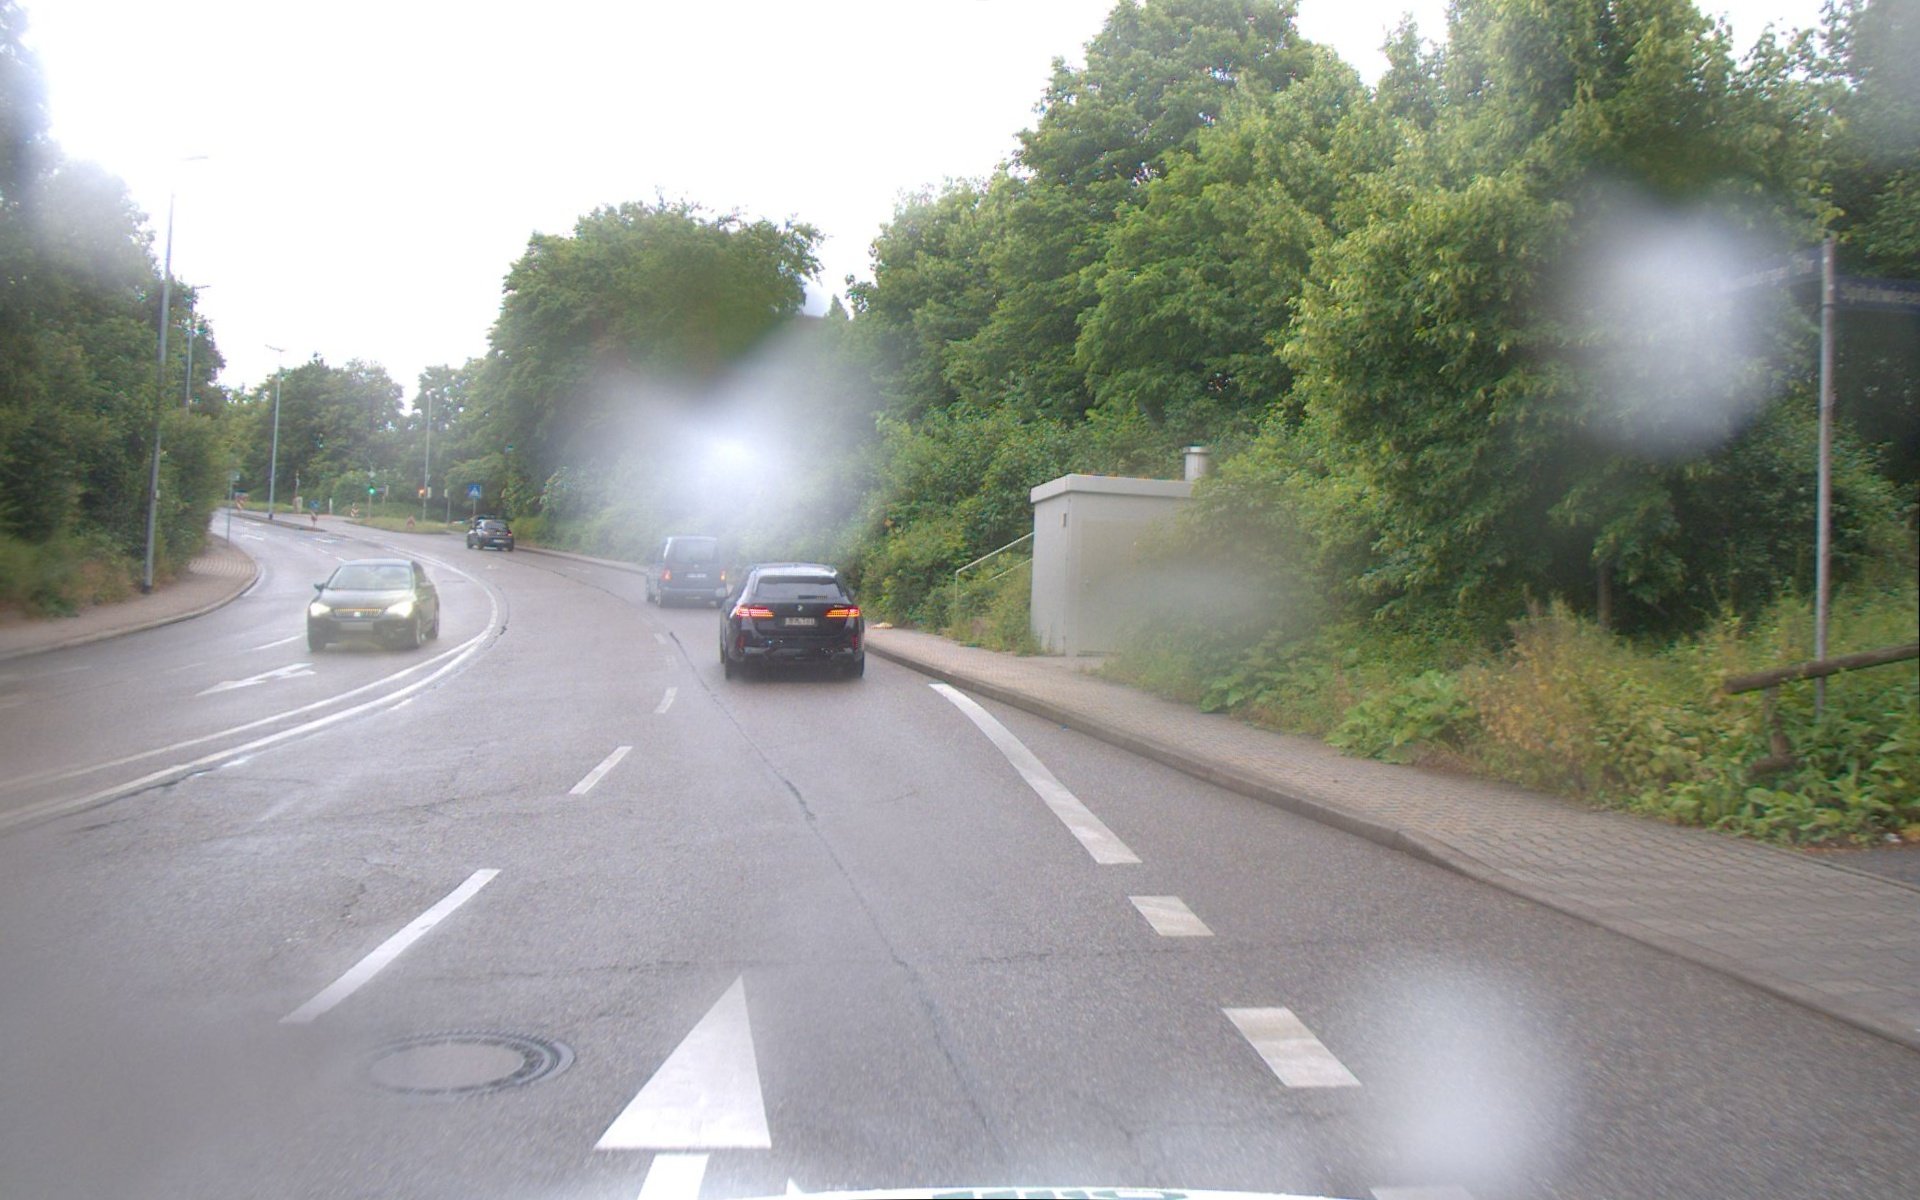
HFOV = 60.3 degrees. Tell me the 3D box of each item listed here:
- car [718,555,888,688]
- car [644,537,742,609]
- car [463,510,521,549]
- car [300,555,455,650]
[{"bbox_3d":[-2.306,0.236,23.155,1.957,1.614,4.652,2,1,-10],"label":"car"},{"bbox_3d":[-7.114,-0.736,43.742,1.963,1.779,3.980,1,1,-18],"label":"car"},{"bbox_3d":[-23.033,-3.443,81.307,1.832,1.691,3.960,2,-1,-30],"label":"car"},{"bbox_3d":[-9.947,0.022,28.541,1.857,1.513,4.224,0,0,-10],"label":"car"}]
